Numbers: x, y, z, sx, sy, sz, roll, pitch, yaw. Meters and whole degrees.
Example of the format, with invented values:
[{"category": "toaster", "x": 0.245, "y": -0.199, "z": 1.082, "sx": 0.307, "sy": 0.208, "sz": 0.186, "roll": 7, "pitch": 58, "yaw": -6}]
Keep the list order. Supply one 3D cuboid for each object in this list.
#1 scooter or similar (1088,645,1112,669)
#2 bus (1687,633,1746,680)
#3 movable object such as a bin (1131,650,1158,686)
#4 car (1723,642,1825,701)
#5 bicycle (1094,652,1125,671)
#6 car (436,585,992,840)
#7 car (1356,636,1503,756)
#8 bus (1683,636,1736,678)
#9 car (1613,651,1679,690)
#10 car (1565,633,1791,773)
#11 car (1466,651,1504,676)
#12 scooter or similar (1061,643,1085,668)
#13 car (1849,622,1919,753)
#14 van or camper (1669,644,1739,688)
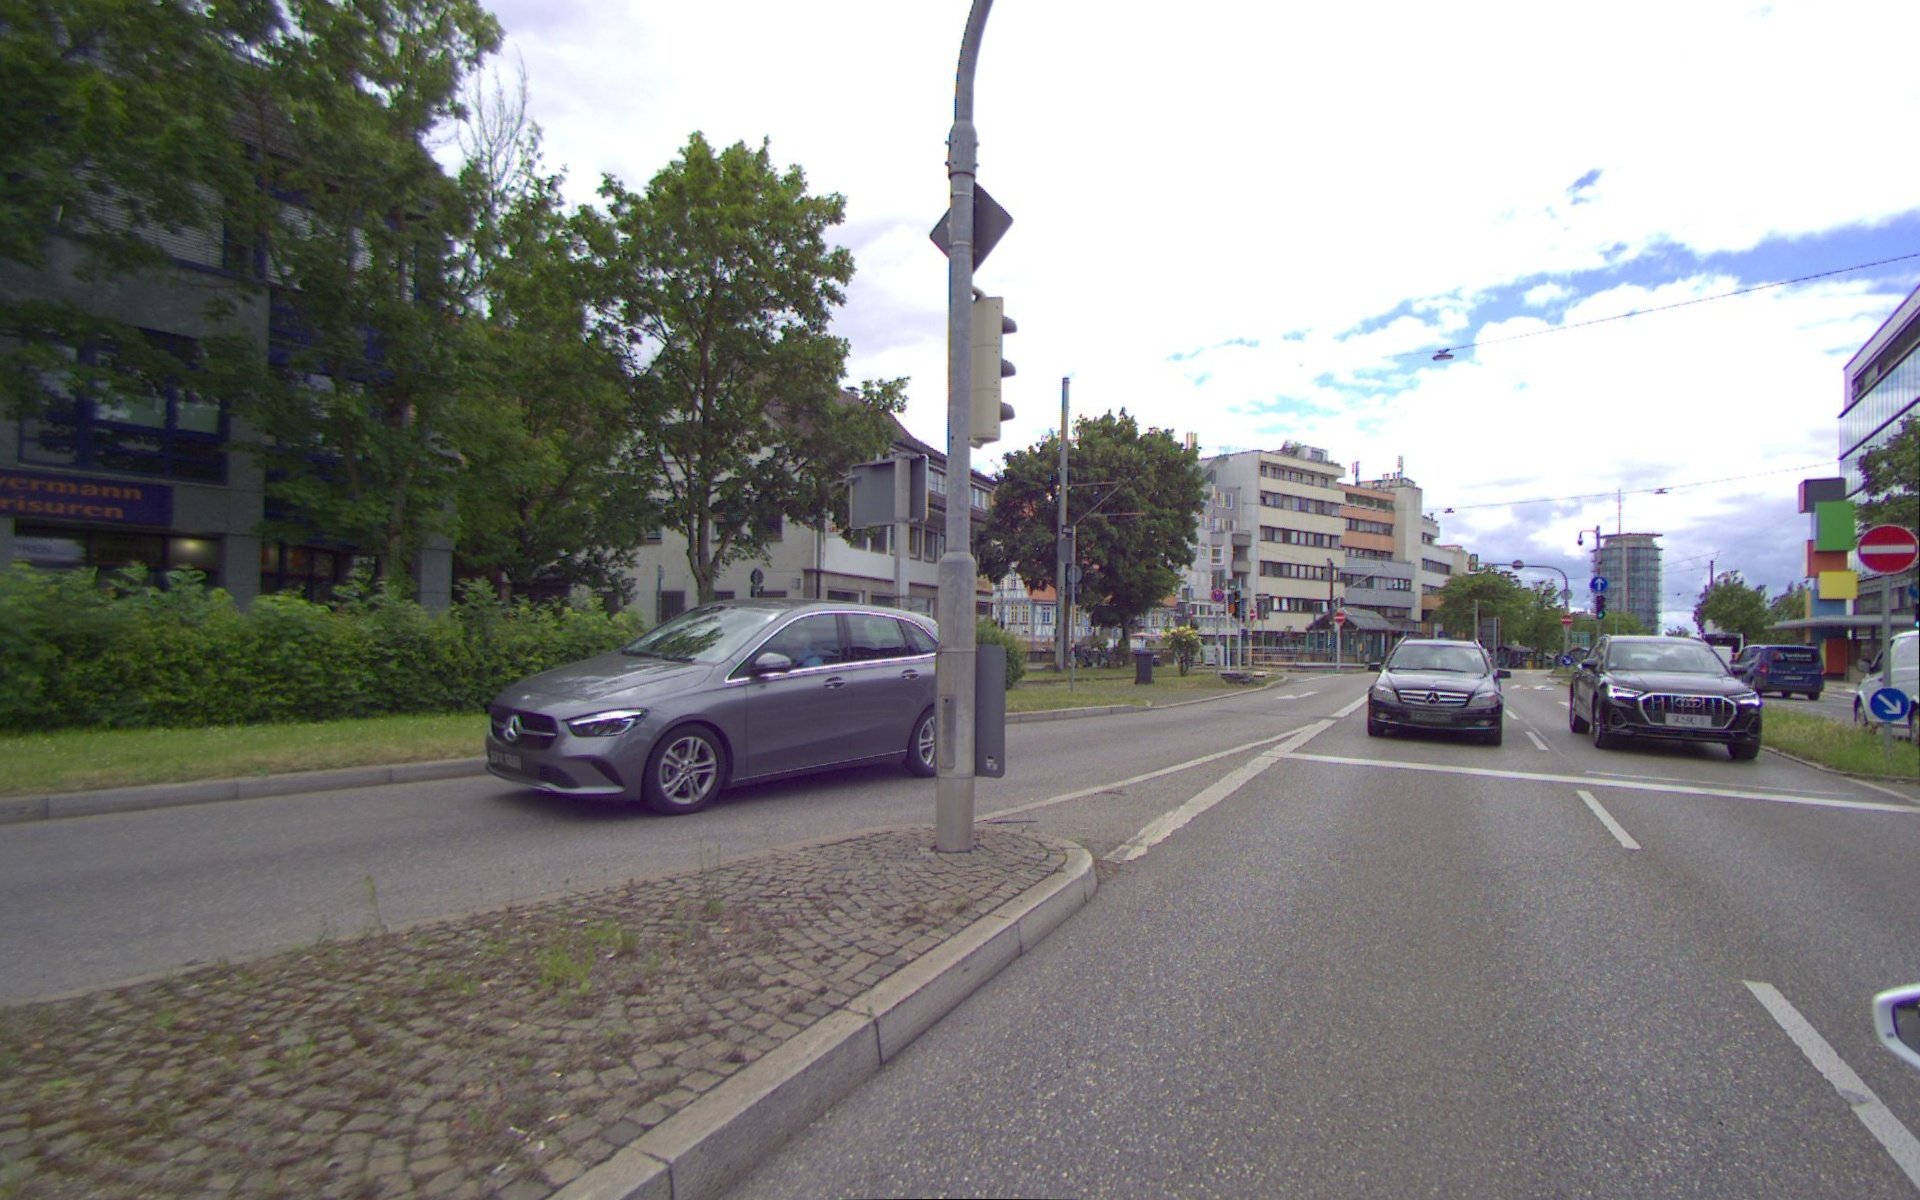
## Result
[{"category": "scooter or similar", "x": 6.383, "y": 2.615, "z": 45.785, "sx": 0.484, "sy": 1.059, "sz": 1.171, "roll": 2, "pitch": -1, "yaw": 40}, {"category": "bus", "x": 54.521, "y": 4.084, "z": 72.589, "sx": 2.927, "sy": 3.157, "sz": 9.217, "roll": -1, "pitch": -4, "yaw": 34}, {"category": "movable object such as a bin", "x": 5.452, "y": 1.991, "z": 29.668, "sx": 0.555, "sy": 1.025, "sz": 0.837, "roll": 1, "pitch": -2, "yaw": 28}, {"category": "car", "x": 29.897, "y": 2.572, "z": 37.046, "sx": 1.873, "sy": 1.883, "sz": 4.704, "roll": 2, "pitch": -1, "yaw": 27}, {"category": "bicycle", "x": 6.551, "y": 2.686, "z": 43.966, "sx": 1.240, "sy": 0.815, "sz": 0.423, "roll": 0, "pitch": -2, "yaw": 30}, {"category": "car", "x": -1.766, "y": 0.751, "z": 8.506, "sx": 1.761, "sy": 1.557, "sz": 4.377, "roll": 2, "pitch": 0, "yaw": 39}, {"category": "car", "x": 7.308, "y": 1.346, "z": 15.541, "sx": 1.755, "sy": 1.444, "sz": 4.391, "roll": 2, "pitch": 0, "yaw": 27}, {"category": "bus", "x": 59.862, "y": 4.540, "z": 80.416, "sx": 2.912, "sy": 3.152, "sz": 9.947, "roll": -1, "pitch": -4, "yaw": 34}, {"category": "car", "x": 29.741, "y": 3.020, "z": 43.690, "sx": 1.845, "sy": 1.437, "sz": 4.436, "roll": 2, "pitch": -1, "yaw": 28}, {"category": "car", "x": 10.214, "y": 1.339, "z": 14.671, "sx": 1.858, "sy": 1.585, "sz": 4.392, "roll": 2, "pitch": 0, "yaw": 25}, {"category": "car", "x": 33.319, "y": 3.992, "z": 63.711, "sx": 1.773, "sy": 1.474, "sz": 4.602, "roll": 0, "pitch": -3, "yaw": 32}, {"category": "scooter or similar", "x": 5.169, "y": 2.535, "z": 45.859, "sx": 0.594, "sy": 1.100, "sz": 1.172, "roll": 0, "pitch": -3, "yaw": 37}, {"category": "car", "x": 16.445, "y": 1.421, "z": 16.486, "sx": 1.874, "sy": 1.995, "sz": 4.627, "roll": 2, "pitch": -1, "yaw": 31}, {"category": "van or camper", "x": 37.022, "y": 3.224, "z": 50.086, "sx": 1.962, "sy": 1.943, "sz": 4.405, "roll": 1, "pitch": 0, "yaw": 25}]
